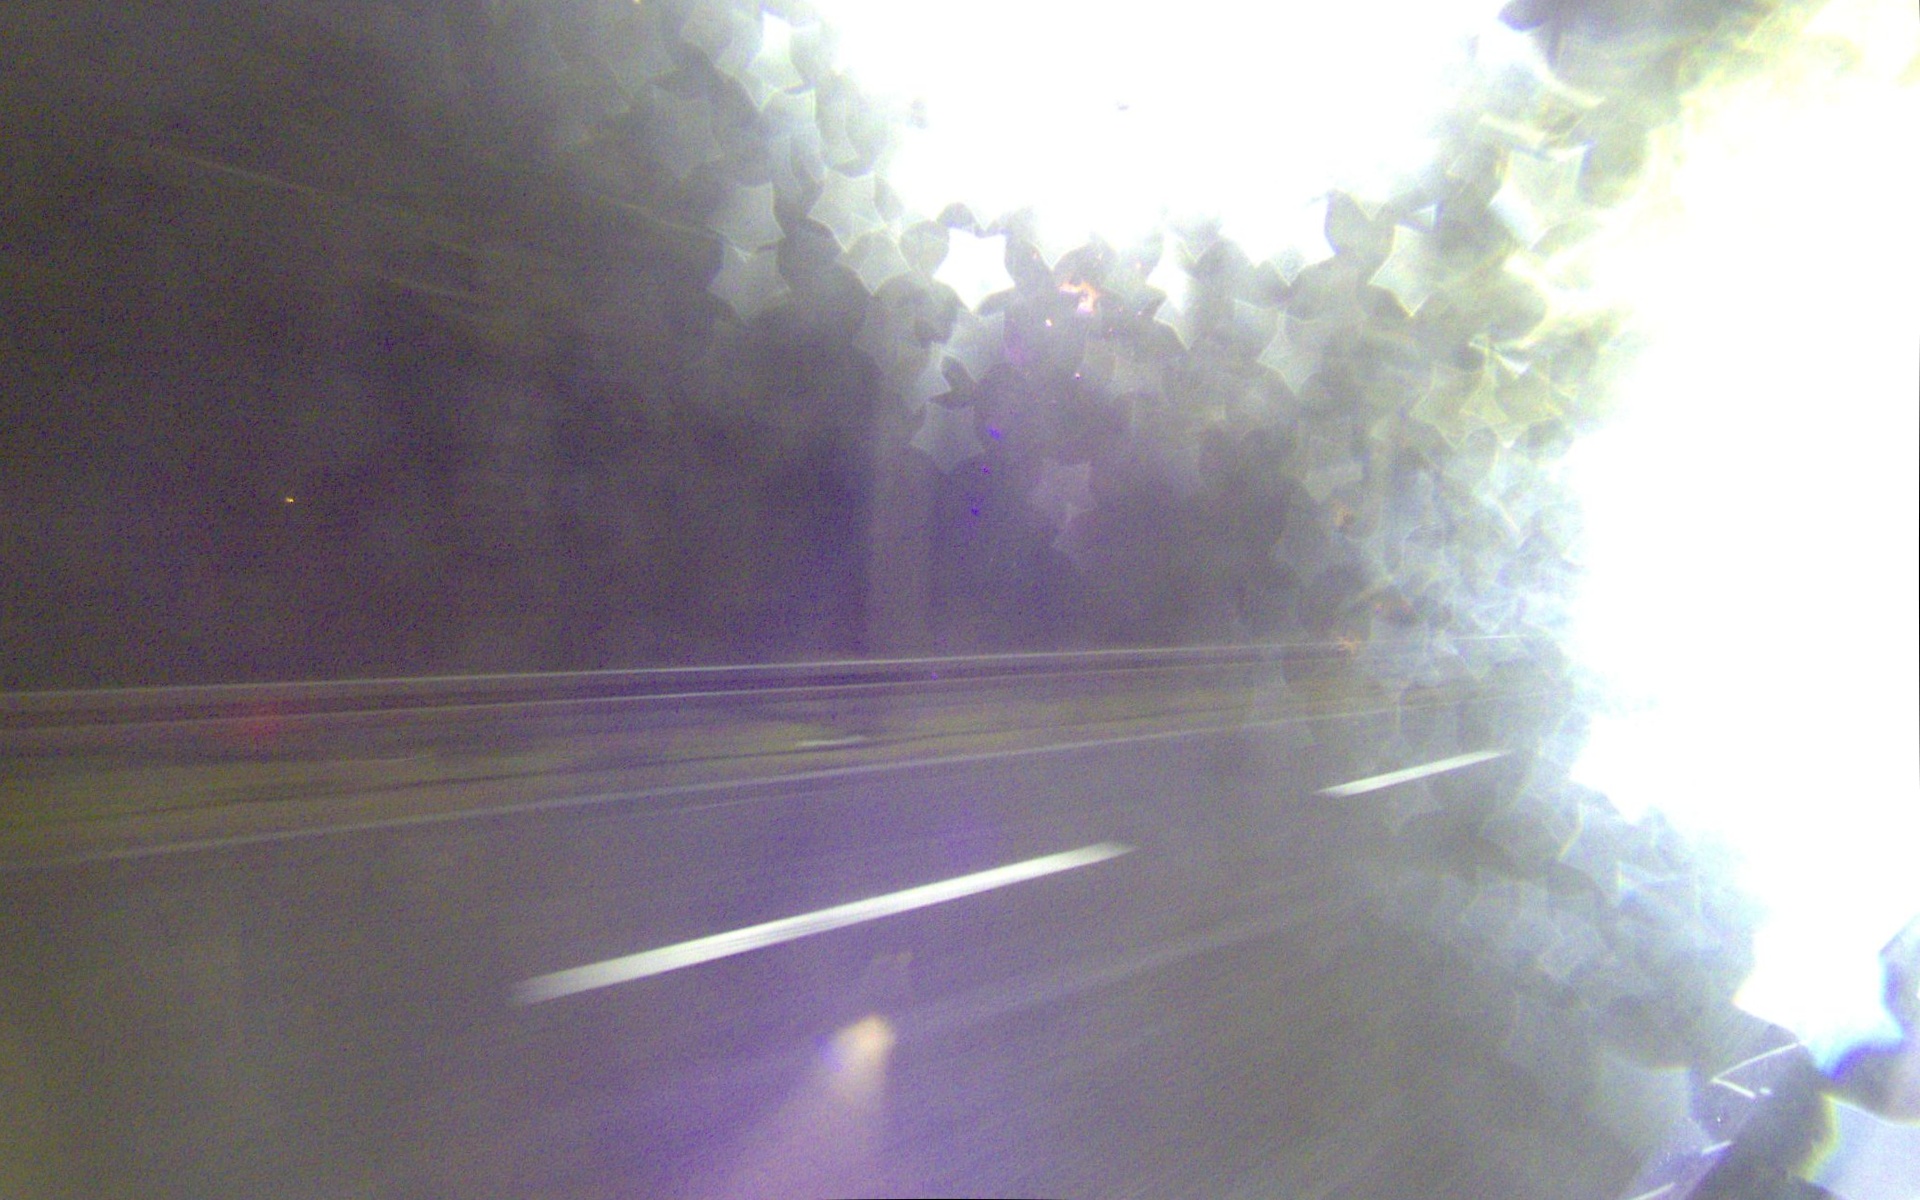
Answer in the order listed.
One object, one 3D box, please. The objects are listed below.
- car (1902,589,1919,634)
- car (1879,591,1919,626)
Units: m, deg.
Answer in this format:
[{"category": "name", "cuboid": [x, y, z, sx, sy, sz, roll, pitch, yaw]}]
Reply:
[{"category": "car", "cuboid": [43.912, 0.587, 45.599, 1.994, 1.957, 3.937, 6, 3, 43]}, {"category": "car", "cuboid": [58.484, 0.533, 62.615, 1.991, 1.957, 3.943, 5, 3, 39]}]
